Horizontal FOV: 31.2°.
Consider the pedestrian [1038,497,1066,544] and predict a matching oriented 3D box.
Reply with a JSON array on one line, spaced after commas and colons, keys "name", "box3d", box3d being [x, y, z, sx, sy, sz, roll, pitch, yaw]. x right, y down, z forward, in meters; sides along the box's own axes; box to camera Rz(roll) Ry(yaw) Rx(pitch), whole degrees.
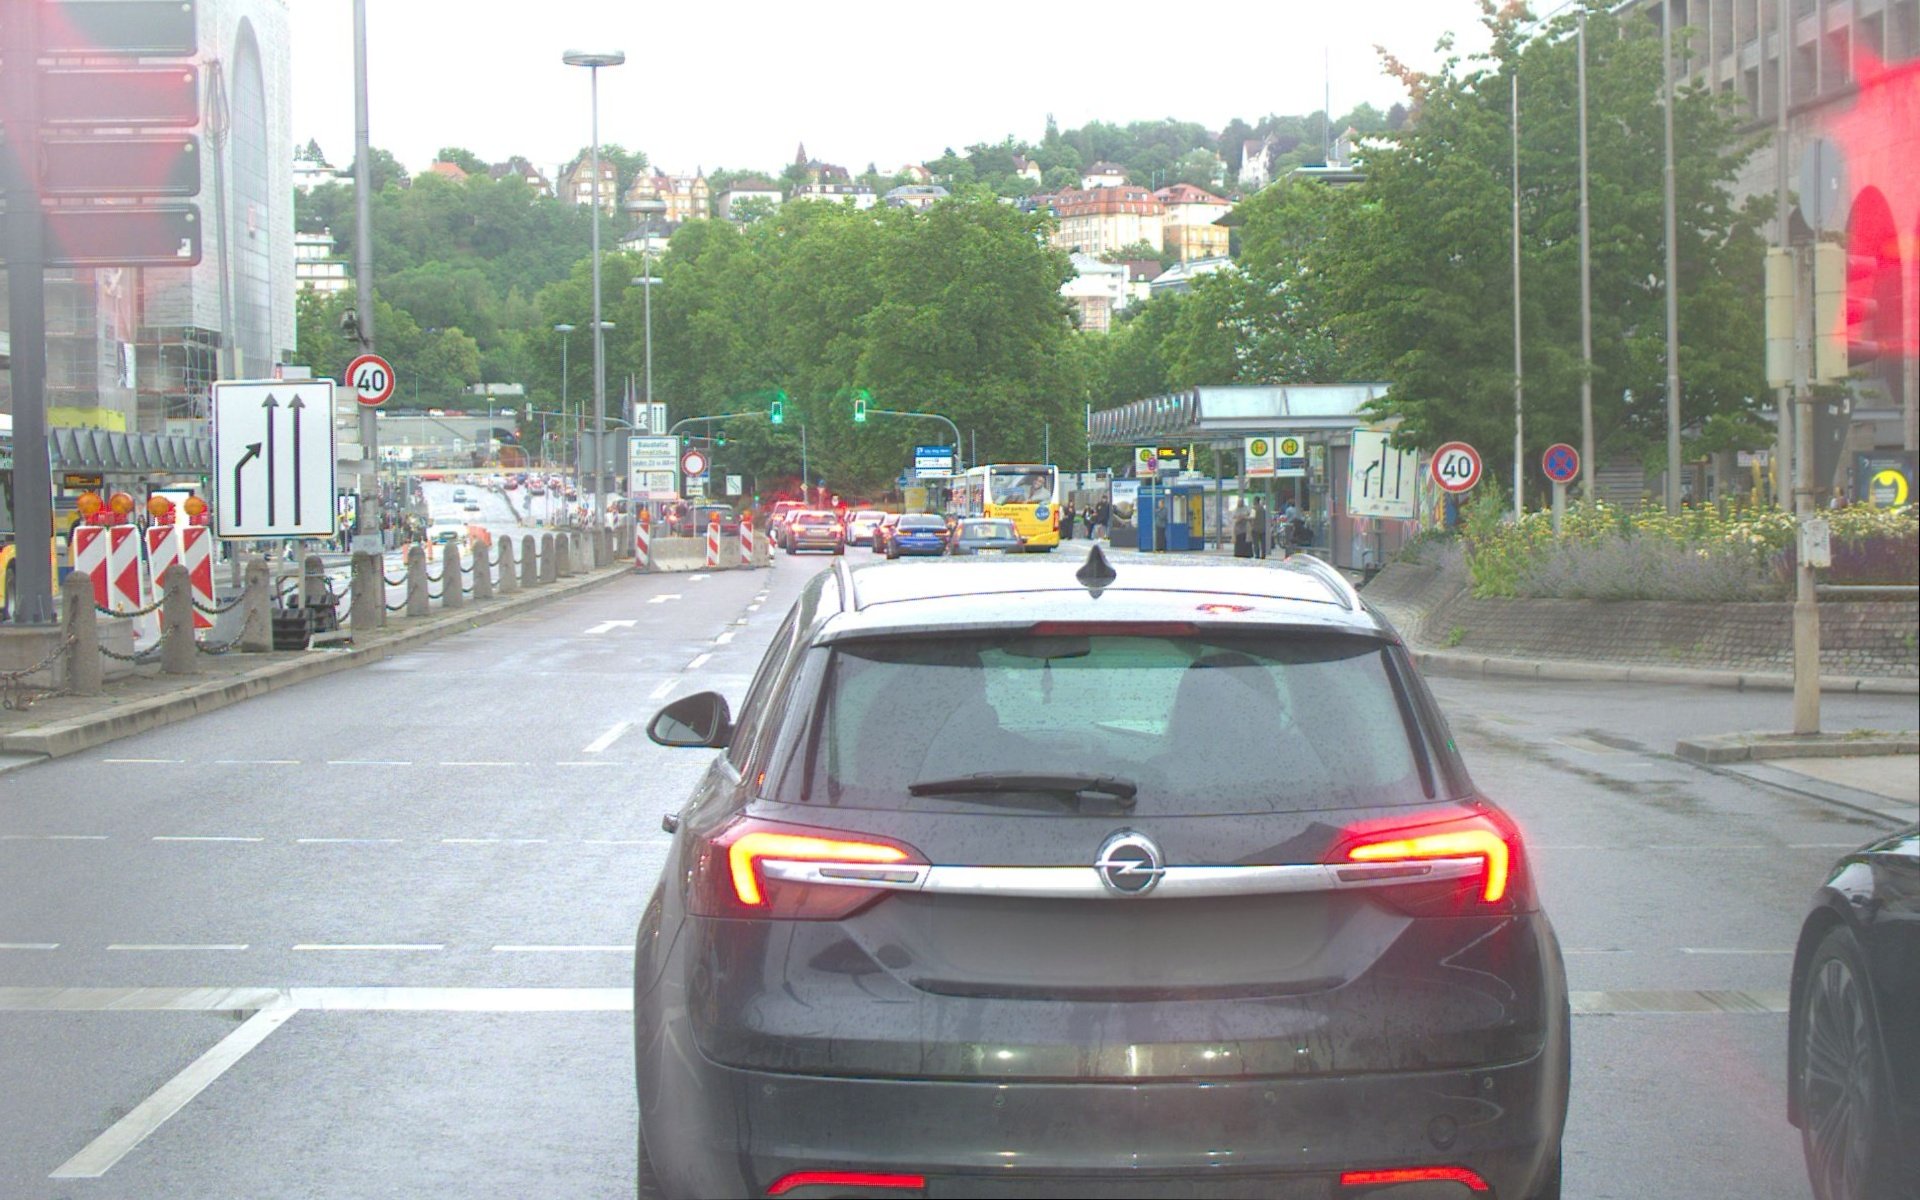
[{"name": "pedestrian", "box3d": [4.230, -3.634, 158.046, 1.199, 2.141, 1.228, 1, 1, 1]}]

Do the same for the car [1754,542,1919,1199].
[{"name": "car", "box3d": [2.726, 0.667, 5.418, 1.793, 1.496, 4.629, 1, 1, -1]}]

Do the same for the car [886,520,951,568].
[{"name": "car", "box3d": [-1.266, -1.670, 103.471, 1.753, 1.393, 4.649, 1, 1, -3]}]

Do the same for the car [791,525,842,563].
[{"name": "car", "box3d": [-5.451, -2.141, 130.946, 1.845, 1.393, 3.564, 1, 1, -1]}]

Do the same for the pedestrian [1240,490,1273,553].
[{"name": "pedestrian", "box3d": [8.131, -2.149, 94.264, 0.763, 1.684, 0.825, 1, 1, -5]}]

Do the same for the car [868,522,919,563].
[{"name": "car", "box3d": [-2.325, -2.015, 120.762, 1.753, 1.393, 4.402, 1, 1, -1]}]

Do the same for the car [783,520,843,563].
[{"name": "car", "box3d": [-4.877, -1.946, 114.432, 1.845, 1.393, 3.564, 1, 1, -1]}]

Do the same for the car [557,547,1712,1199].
[{"name": "car", "box3d": [0.246, 0.641, 7.624, 1.874, 1.481, 4.000, 1, 1, -1]}]

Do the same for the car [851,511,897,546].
[{"name": "car", "box3d": [-3.523, -2.946, 141.559, 1.845, 1.393, 3.564, 1, 1, -1]}]

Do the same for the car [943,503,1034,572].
[{"name": "car", "box3d": [0.575, -1.319, 72.566, 1.845, 1.393, 3.667, 1, 1, -1]}]

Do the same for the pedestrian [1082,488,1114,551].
[{"name": "pedestrian", "box3d": [5.362, -3.118, 133.614, 1.199, 2.427, 1.228, 1, 1, 1]}]

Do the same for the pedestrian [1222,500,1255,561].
[{"name": "pedestrian", "box3d": [7.722, -1.933, 95.420, 0.763, 1.684, 0.825, 1, 1, -5]}]

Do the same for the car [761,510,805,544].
[{"name": "car", "box3d": [-7.713, -3.173, 149.937, 1.759, 1.393, 3.564, 1, 1, -1]}]

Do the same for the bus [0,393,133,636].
[{"name": "bus", "box3d": [-15.572, -1.326, 54.220, 2.668, 3.589, 10.212, 1, 1, -1]}]

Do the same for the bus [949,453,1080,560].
[{"name": "bus", "box3d": [1.785, -3.188, 120.852, 4.173, 3.457, 14.655, 1, 1, -1]}]

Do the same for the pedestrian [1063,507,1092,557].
[{"name": "pedestrian", "box3d": [5.020, -2.905, 146.888, 1.199, 2.141, 1.228, 1, 1, 1]}]
